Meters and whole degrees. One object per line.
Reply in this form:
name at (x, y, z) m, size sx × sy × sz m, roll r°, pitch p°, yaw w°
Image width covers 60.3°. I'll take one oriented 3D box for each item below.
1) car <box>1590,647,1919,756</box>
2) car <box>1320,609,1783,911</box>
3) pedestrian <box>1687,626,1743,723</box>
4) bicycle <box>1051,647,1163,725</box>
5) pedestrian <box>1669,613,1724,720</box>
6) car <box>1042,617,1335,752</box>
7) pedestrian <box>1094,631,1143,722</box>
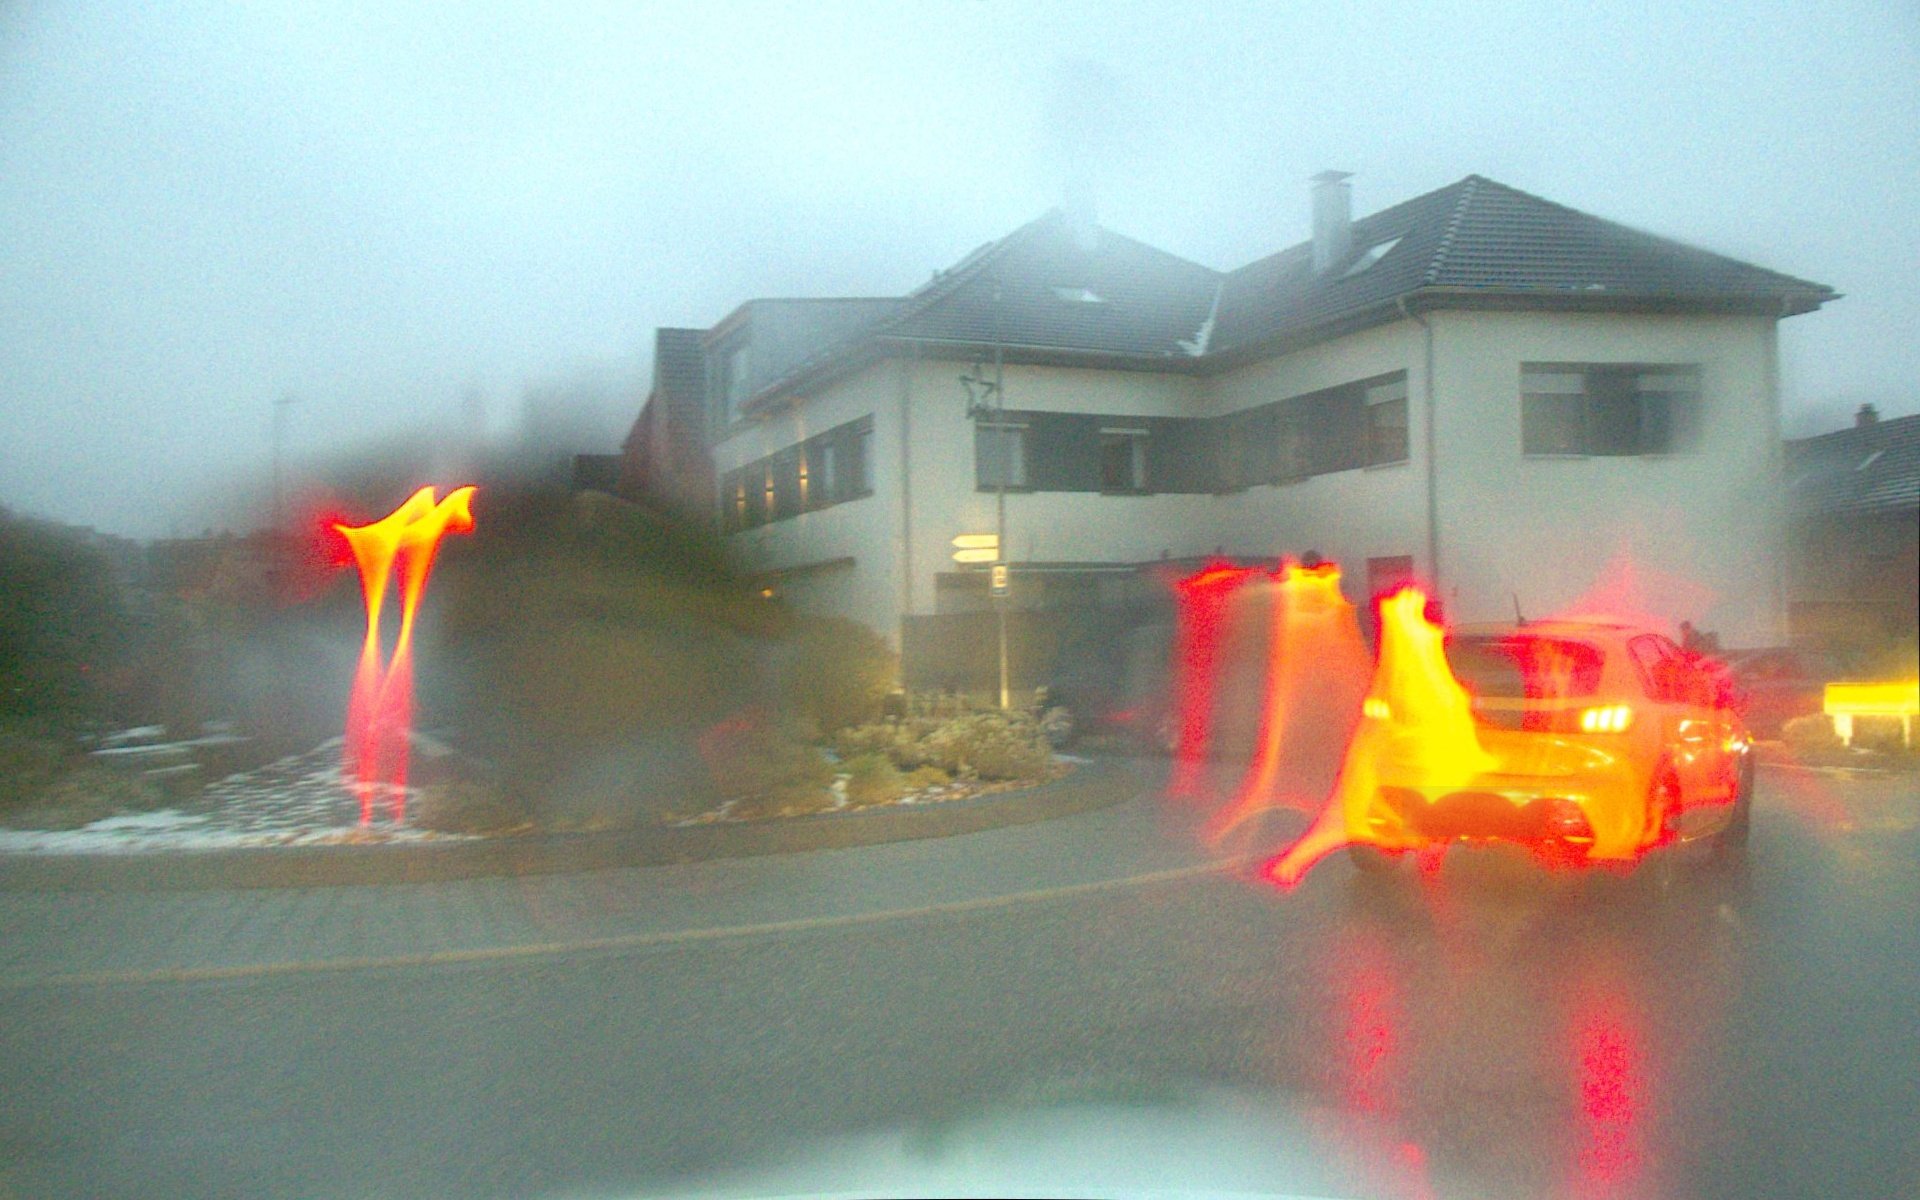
car at (11.161, 1.398, 22.896) m, size 4.139 × 1.408 × 1.848 m, roll 0°, pitch -4°, yaw -6°
car at (3.763, 0.786, 10.073) m, size 1.680 × 1.447 × 3.999 m, roll -1°, pitch -1°, yaw 35°
pedestrian at (13.069, 1.283, 28.635) m, size 0.700 × 1.650 × 0.582 m, roll 0°, pitch -1°, yaw 2°
bicycle at (2.597, 1.512, 29.245) m, size 1.898 × 1.318 × 0.551 m, roll -1°, pitch 0°, yaw 27°
pedestrian at (13.089, 1.175, 29.418) m, size 0.700 × 1.864 × 0.637 m, roll 0°, pitch 0°, yaw 2°
car at (2.984, 1.066, 22.340) m, size 1.897 × 1.643 × 3.907 m, roll 0°, pitch -1°, yaw -32°
pedestrian at (2.830, 1.353, 29.540) m, size 0.676 × 1.592 × 0.609 m, roll -1°, pitch -1°, yaw 27°
